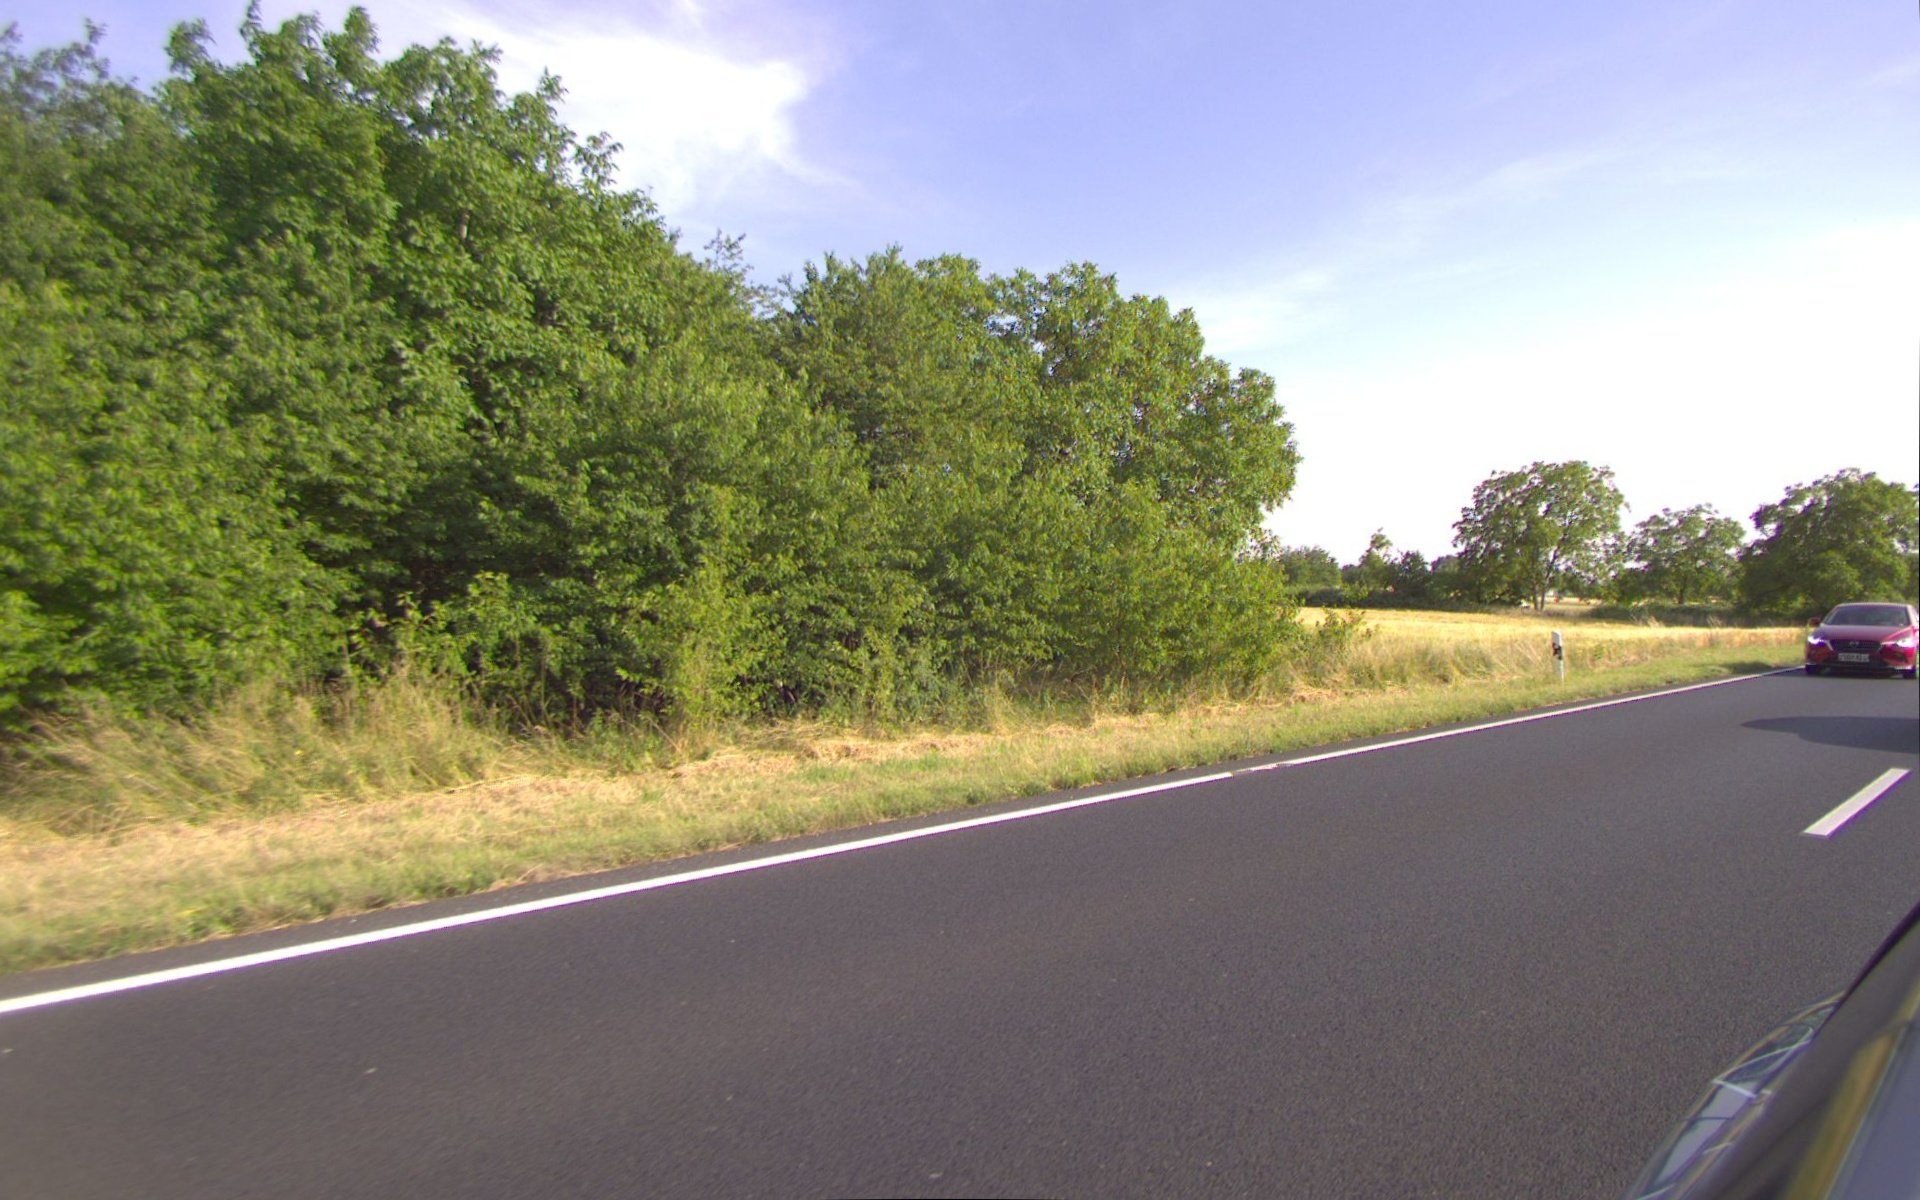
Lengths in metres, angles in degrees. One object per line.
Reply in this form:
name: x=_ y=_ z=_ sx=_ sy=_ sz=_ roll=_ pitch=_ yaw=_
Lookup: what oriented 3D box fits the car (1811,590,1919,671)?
car: x=19.505 y=0.565 z=21.365 sx=4.423 sy=1.524 sz=1.707 roll=-1 pitch=1 yaw=-41
